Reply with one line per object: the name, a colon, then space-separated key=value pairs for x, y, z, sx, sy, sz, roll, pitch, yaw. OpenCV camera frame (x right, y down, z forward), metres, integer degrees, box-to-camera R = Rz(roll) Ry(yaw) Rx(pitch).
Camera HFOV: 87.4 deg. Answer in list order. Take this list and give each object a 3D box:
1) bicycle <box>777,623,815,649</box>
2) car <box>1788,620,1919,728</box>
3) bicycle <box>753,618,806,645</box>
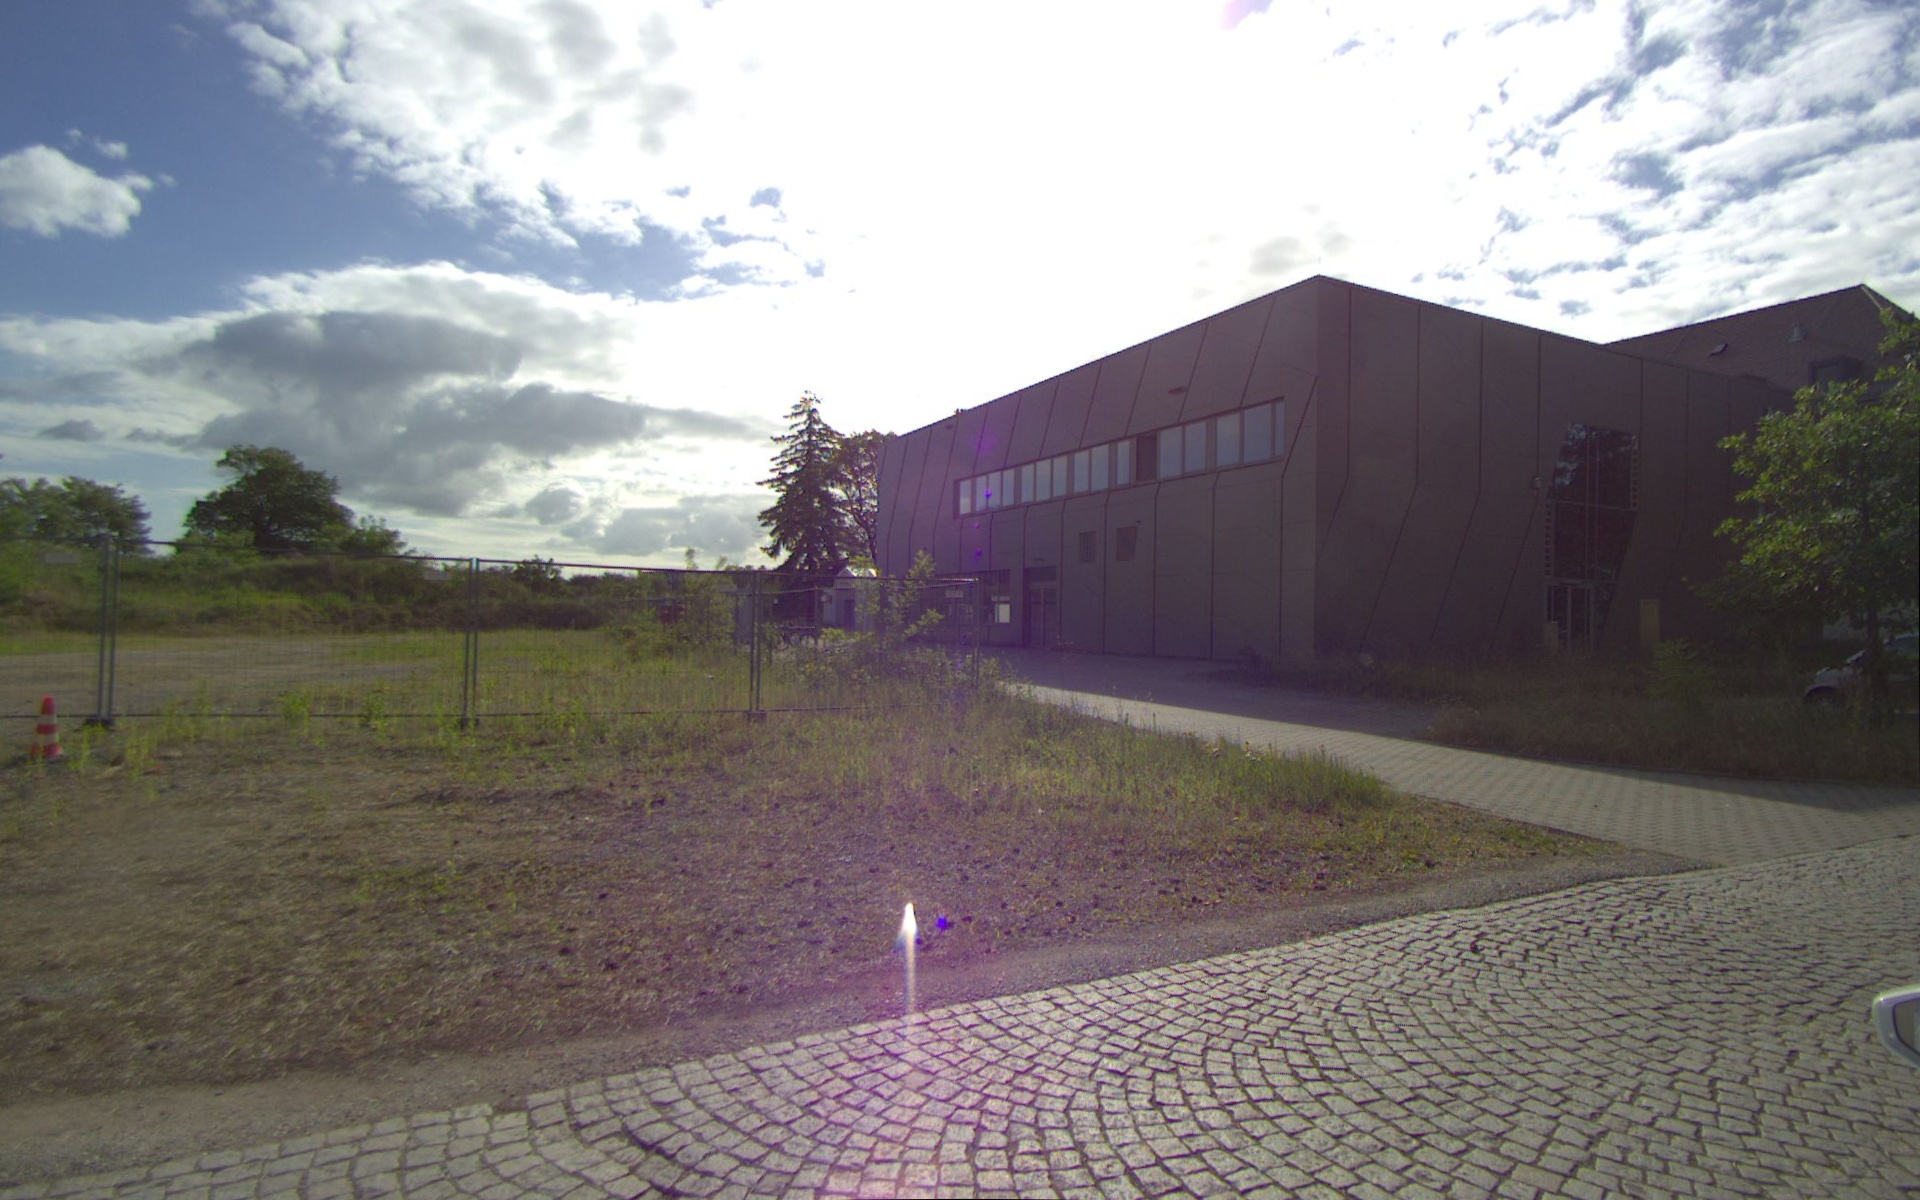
bicycle: x=-6.226 y=1.363 z=38.126 sx=1.338 sy=0.912 sz=0.515 roll=-1 pitch=0 yaw=-25
car: x=14.977 y=1.157 z=15.751 sx=1.500 sy=1.563 sz=2.688 roll=1 pitch=1 yaw=-28
bicycle: x=-7.205 y=1.254 z=40.097 sx=1.941 sy=0.982 sz=0.837 roll=-1 pitch=0 yaw=-25
